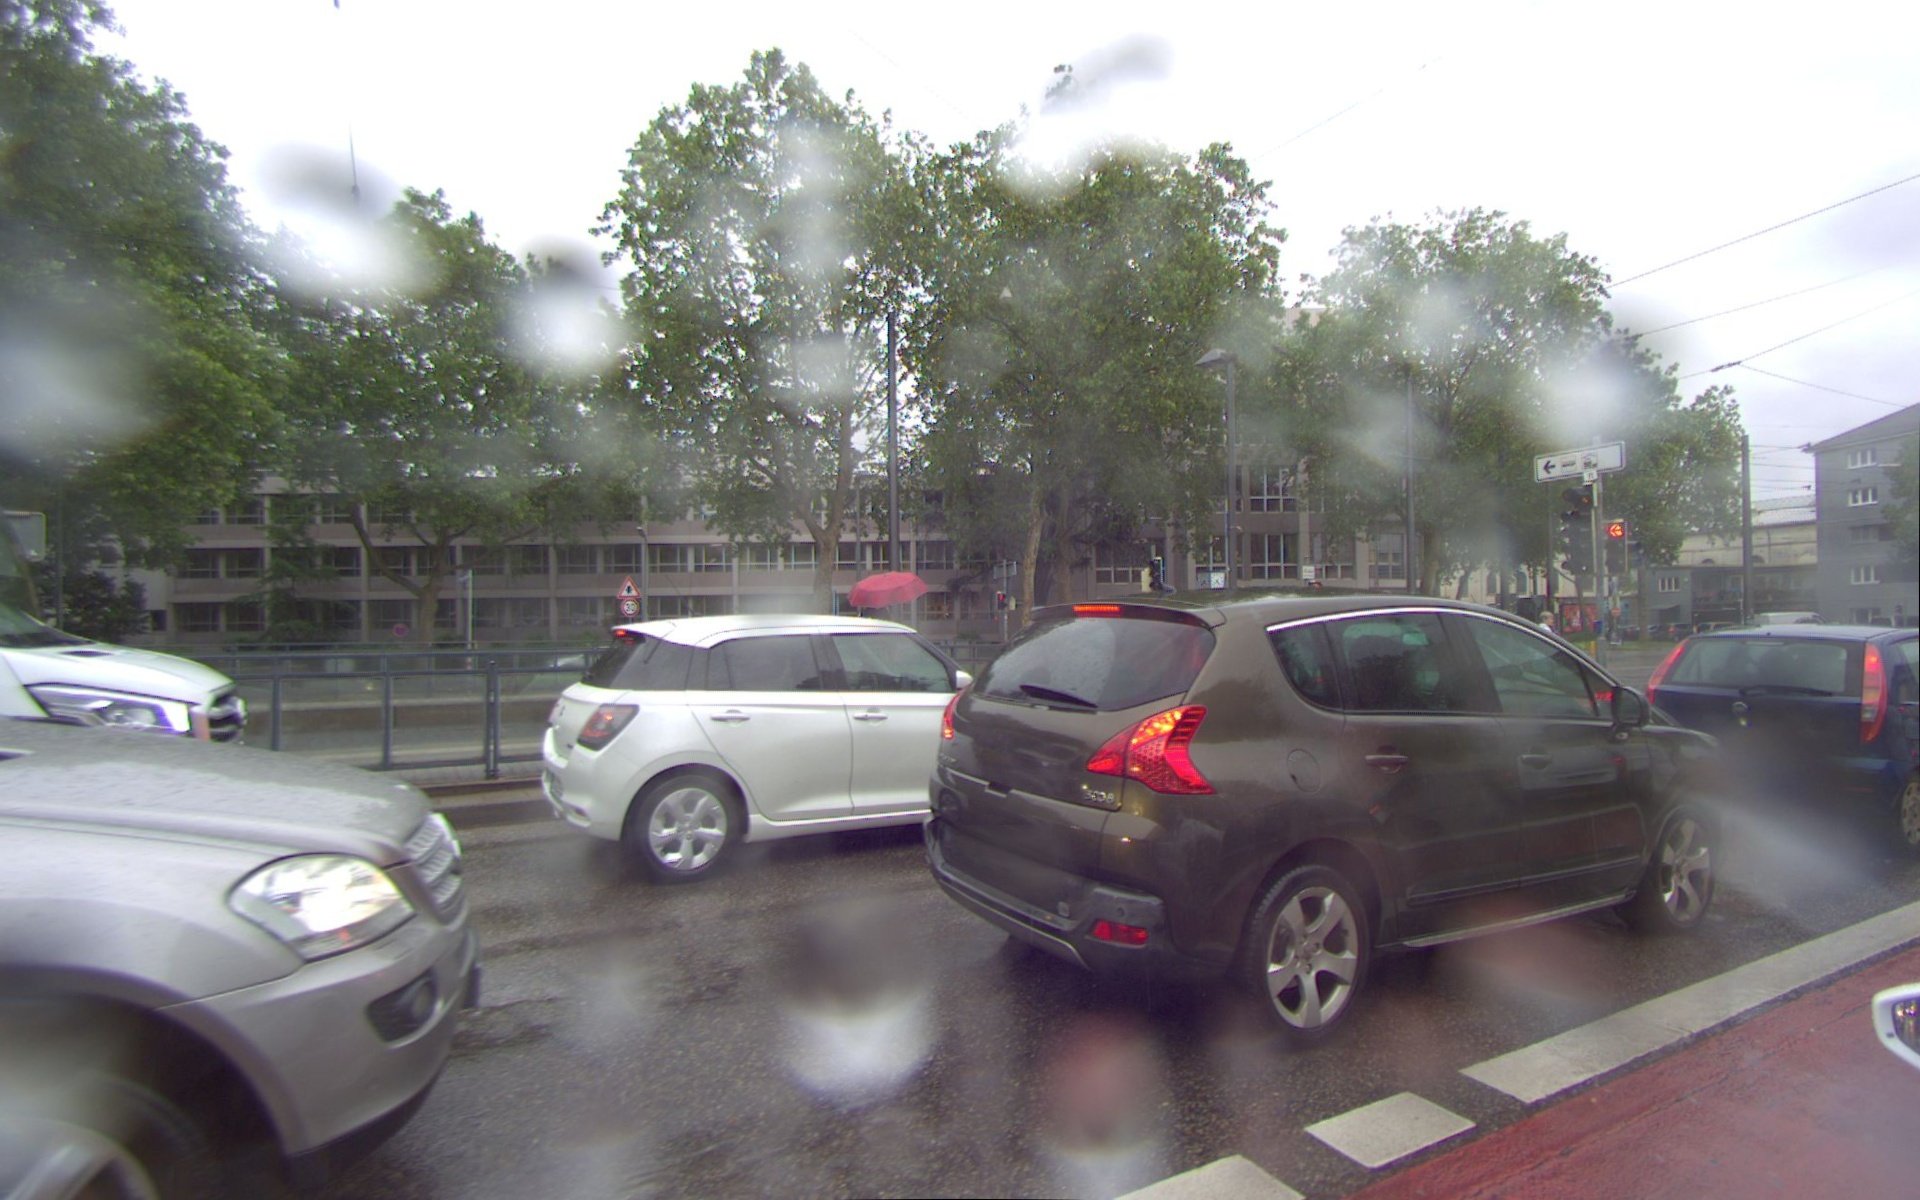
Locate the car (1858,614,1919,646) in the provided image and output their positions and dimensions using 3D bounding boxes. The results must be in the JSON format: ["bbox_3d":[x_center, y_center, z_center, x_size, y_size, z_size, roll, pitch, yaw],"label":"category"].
[{"bbox_3d":[62.144,1.974,66.362,3.922,2.040,1.999,1,0,-3],"label":"car"}]

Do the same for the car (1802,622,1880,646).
[{"bbox_3d":[62.705,2.380,71.528,3.922,1.516,1.959,-1,2,-3],"label":"car"}]

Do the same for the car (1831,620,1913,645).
[{"bbox_3d":[62.672,2.220,69.064,3.922,1.550,1.999,-1,0,-3],"label":"car"}]

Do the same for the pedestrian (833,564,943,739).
[{"bbox_3d":[-0.779,0.536,10.694,0.888,1.769,0.762,0,-3,-30],"label":"pedestrian"}]

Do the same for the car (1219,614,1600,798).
[{"bbox_3d":[4.539,0.925,10.035,3.737,1.514,1.621,1,-1,-30],"label":"car"}]

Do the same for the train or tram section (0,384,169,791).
[{"bbox_3d":[-15.019,-0.232,6.360,15.329,3.458,3.522,1,0,-32],"label":"train or tram section"}]

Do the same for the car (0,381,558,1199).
[{"bbox_3d":[-3.231,0.521,1.791,4.411,1.794,2.014,1,-1,-31],"label":"car"}]

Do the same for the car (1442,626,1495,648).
[{"bbox_3d":[35.534,2.583,70.302,1.533,1.514,3.781,0,-2,-4],"label":"car"}]

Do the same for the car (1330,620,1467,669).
[{"bbox_3d":[12.809,1.284,29.365,3.466,1.331,1.594,1,0,-16],"label":"car"}]

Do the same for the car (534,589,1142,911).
[{"bbox_3d":[-0.751,0.815,6.835,3.791,1.650,1.637,1,-1,-30],"label":"car"}]

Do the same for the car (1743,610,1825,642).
[{"bbox_3d":[60.938,1.872,74.292,4.698,2.228,1.998,-1,1,-6],"label":"car"}]

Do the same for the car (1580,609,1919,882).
[{"bbox_3d":[6.630,0.892,7.618,3.776,1.599,1.719,1,-1,-30],"label":"car"}]

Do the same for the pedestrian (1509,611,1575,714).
[{"bbox_3d":[9.534,1.007,16.466,0.731,1.628,0.623,1,0,-23],"label":"pedestrian"}]

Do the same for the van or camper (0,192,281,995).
[{"bbox_3d":[-6.137,-0.038,3.781,5.786,3.183,2.147,1,-2,-32],"label":"van or camper"}]

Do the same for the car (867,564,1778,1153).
[{"bbox_3d":[1.819,0.776,4.724,4.123,1.690,1.826,1,-1,-30],"label":"car"}]
